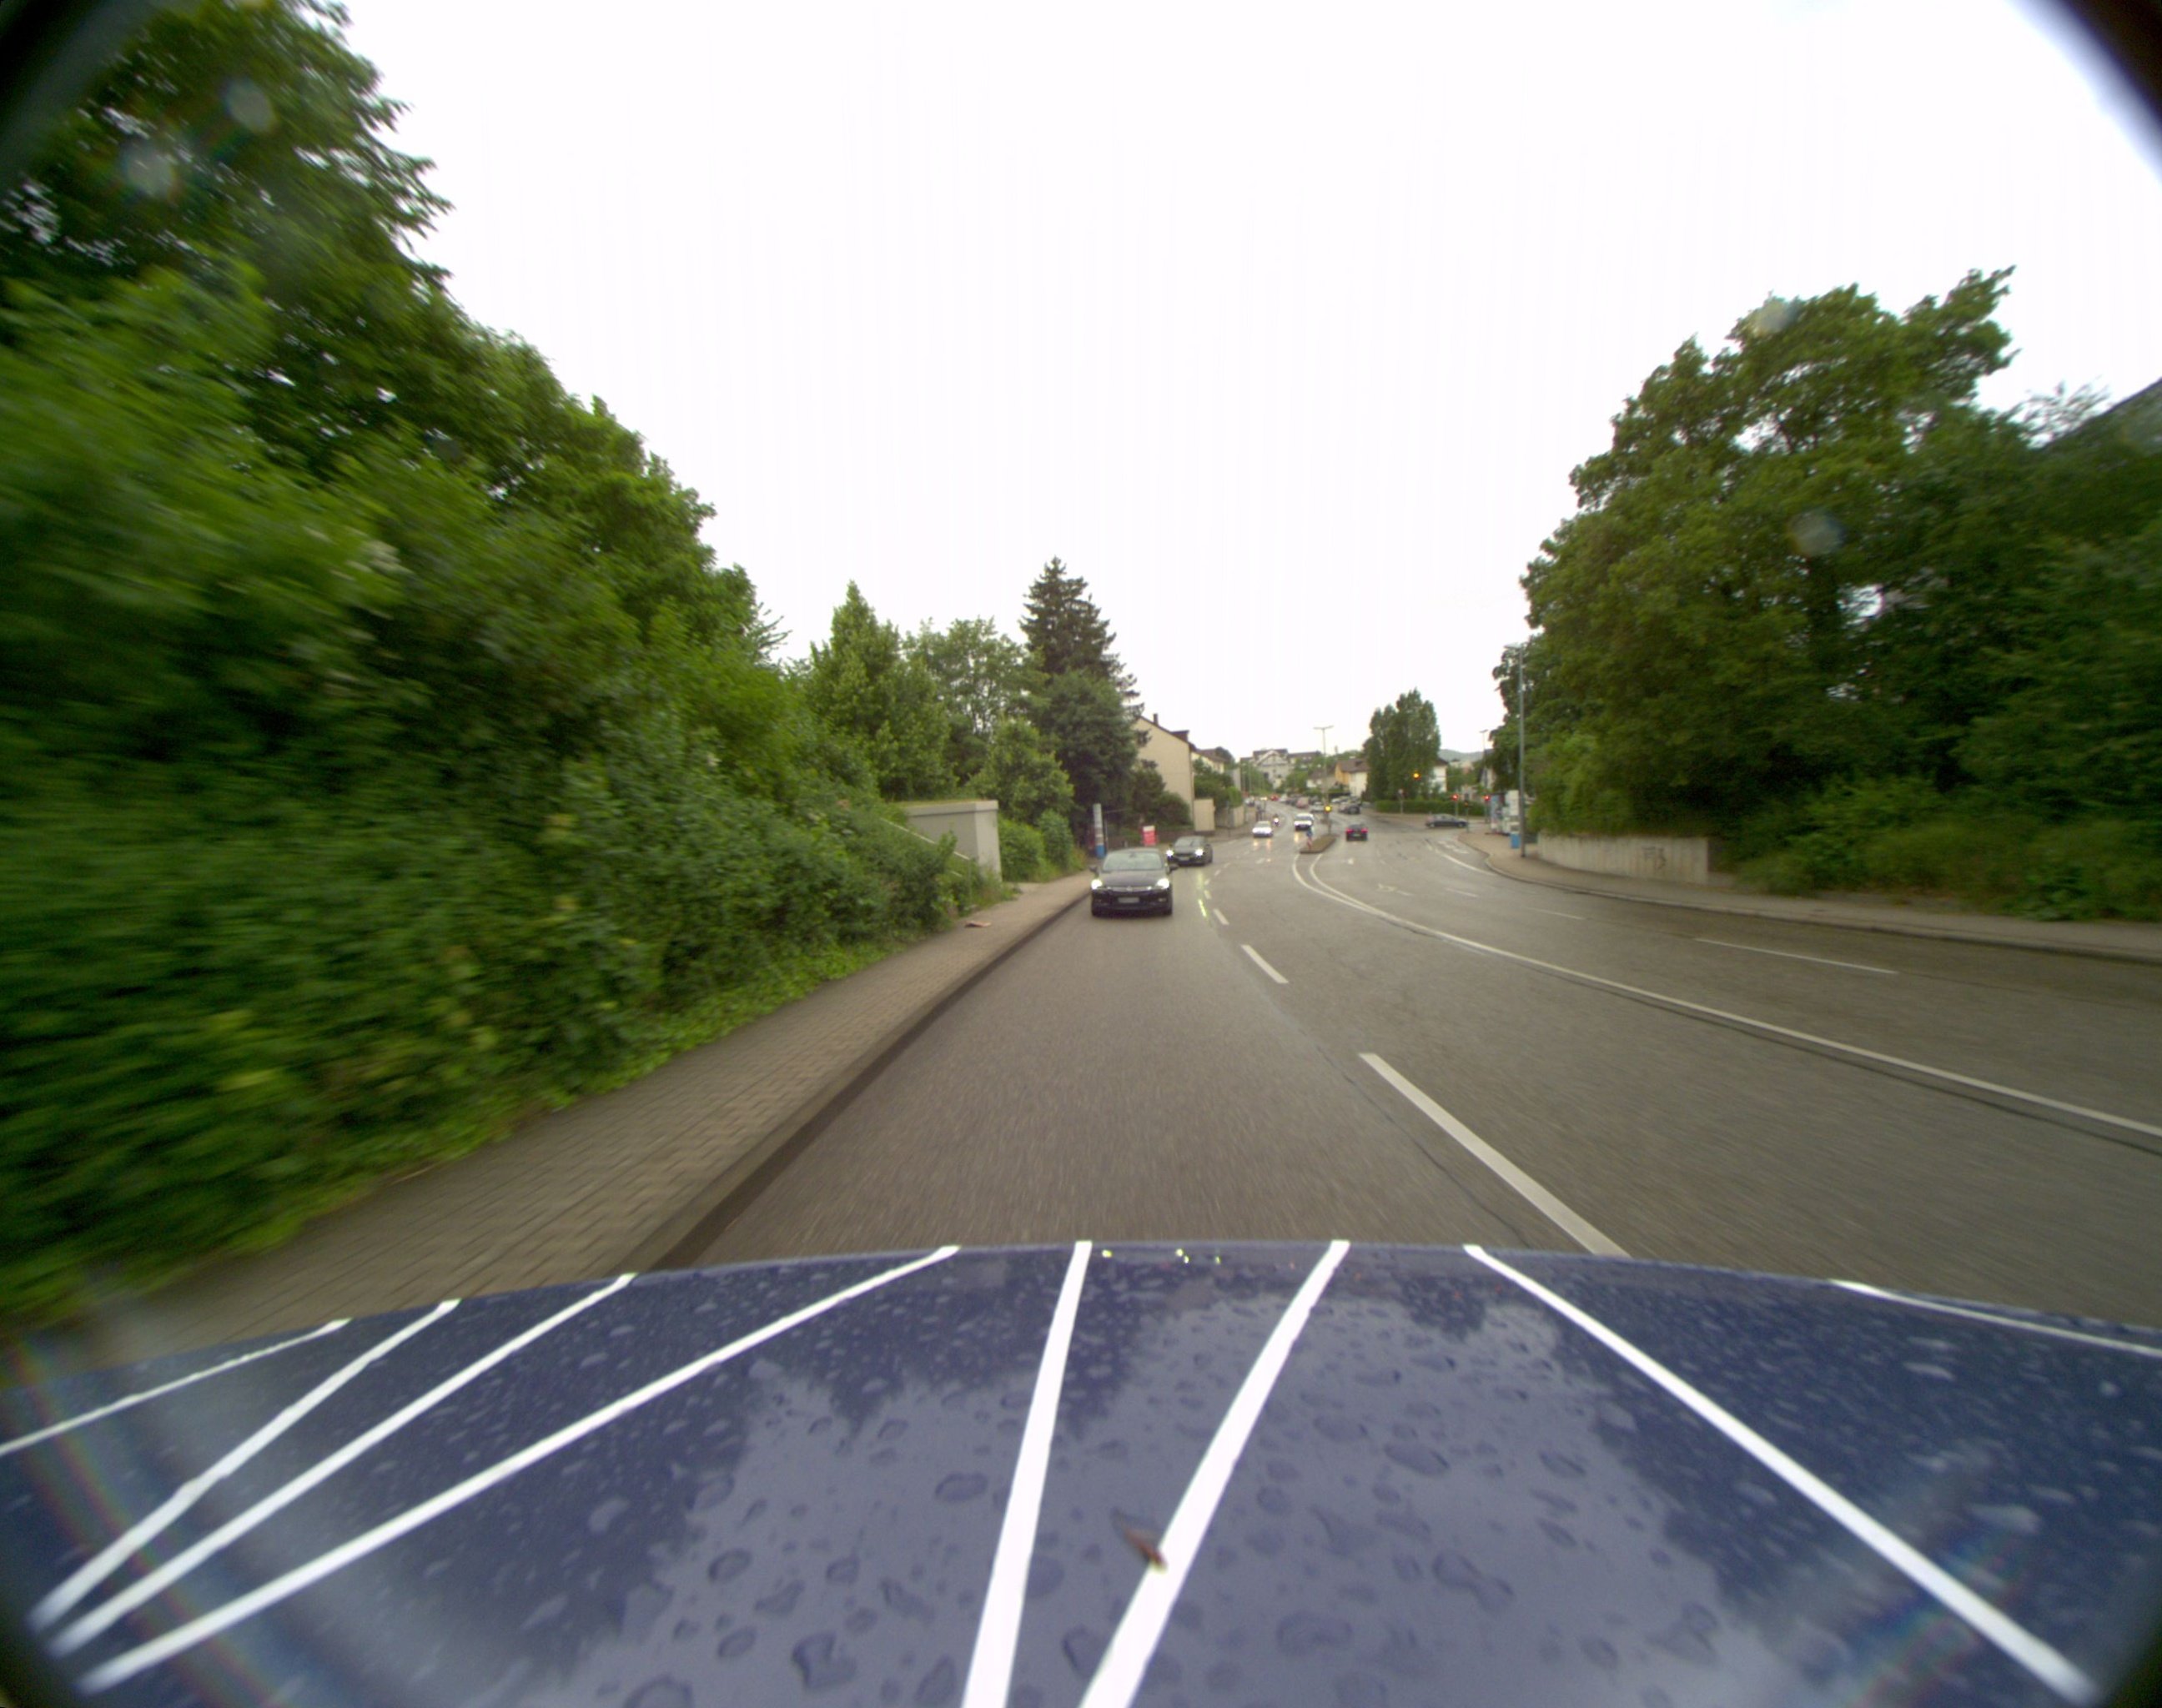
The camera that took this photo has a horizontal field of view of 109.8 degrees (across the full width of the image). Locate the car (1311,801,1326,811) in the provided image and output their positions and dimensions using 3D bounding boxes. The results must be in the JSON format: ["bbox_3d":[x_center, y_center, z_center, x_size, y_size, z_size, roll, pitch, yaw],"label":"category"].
[{"bbox_3d":[41.163,-8.323,131.637,1.827,1.648,4.465,-1,5,10],"label":"car"}]

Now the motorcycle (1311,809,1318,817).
[{"bbox_3d":[30.354,-5.318,98.764,0.762,0.948,2.442,-1,6,16],"label":"motorcycle"}]

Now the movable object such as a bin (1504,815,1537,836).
[{"bbox_3d":[33.767,-2.178,58.410,2.059,1.507,1.345,-1,4,22],"label":"movable object such as a bin"}]

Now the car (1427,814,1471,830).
[{"bbox_3d":[38.538,-3.324,79.611,4.049,1.480,1.842,-1,6,24],"label":"car"}]

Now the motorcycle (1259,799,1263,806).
[{"bbox_3d":[34.258,-9.781,144.664,0.693,1.318,2.478,-1,6,10],"label":"motorcycle"}]

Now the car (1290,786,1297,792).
[{"bbox_3d":[68.618,-20.917,245.245,1.997,1.566,3.999,-2,6,11],"label":"car"}]

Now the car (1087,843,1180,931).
[{"bbox_3d":[1.189,0.649,17.479,1.840,1.391,3.997,-2,6,4],"label":"car"}]

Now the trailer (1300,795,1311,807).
[{"bbox_3d":[44.369,-10.458,150.173,1.898,2.168,4.037,-1,5,18],"label":"trailer"}]

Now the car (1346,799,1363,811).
[{"bbox_3d":[43.107,-7.719,119.695,1.807,1.661,4.597,-2,6,11],"label":"car"}]

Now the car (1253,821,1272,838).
[{"bbox_3d":[18.322,-2.534,76.545,1.838,1.474,4.001,-1,4,14],"label":"car"}]

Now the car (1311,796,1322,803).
[{"bbox_3d":[51.659,-11.897,166.722,1.807,1.409,3.999,-1,6,11],"label":"car"}]

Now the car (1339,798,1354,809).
[{"bbox_3d":[44.146,-8.335,126.299,1.807,1.561,4.142,-2,6,11],"label":"car"}]

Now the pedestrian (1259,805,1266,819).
[{"bbox_3d":[24.895,-5.753,104.146,0.794,1.772,1.012,0,7,17],"label":"pedestrian"}]

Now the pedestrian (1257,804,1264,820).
[{"bbox_3d":[24.267,-5.703,102.738,0.798,2.004,0.734,-2,6,17],"label":"pedestrian"}]

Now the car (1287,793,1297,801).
[{"bbox_3d":[49.363,-13.413,177.712,1.997,1.566,3.999,-1,6,11],"label":"car"}]

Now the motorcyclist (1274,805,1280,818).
[{"bbox_3d":[25.267,-5.453,97.917,0.761,1.595,0.808,-1,7,15],"label":"motorcyclist"}]

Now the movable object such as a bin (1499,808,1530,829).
[{"bbox_3d":[35.017,-2.869,61.418,2.059,1.560,1.583,-1,4,22],"label":"movable object such as a bin"}]

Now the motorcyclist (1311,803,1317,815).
[{"bbox_3d":[30.311,-5.850,98.725,0.760,1.595,0.808,-1,7,18],"label":"motorcyclist"}]

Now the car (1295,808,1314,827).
[{"bbox_3d":[25.458,-4.178,86.642,1.954,1.862,4.746,-1,6,14],"label":"car"}]

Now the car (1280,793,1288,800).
[{"bbox_3d":[51.496,-14.671,192.780,1.838,1.549,4.770,-1,6,13],"label":"car"}]

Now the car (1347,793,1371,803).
[{"bbox_3d":[53.440,-10.786,146.099,3.994,1.413,1.884,-5,5,11],"label":"car"}]

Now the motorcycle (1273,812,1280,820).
[{"bbox_3d":[25.240,-4.913,97.912,0.762,0.948,2.442,-1,6,16],"label":"motorcycle"}]

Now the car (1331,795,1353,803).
[{"bbox_3d":[55.705,-11.727,162.121,4.108,1.476,1.839,1,5,4],"label":"car"}]

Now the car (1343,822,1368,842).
[{"bbox_3d":[23.588,-1.907,65.340,1.894,1.479,4.237,-1,3,18],"label":"car"}]

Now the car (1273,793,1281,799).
[{"bbox_3d":[54.768,-16.283,212.166,1.715,1.495,3.999,-2,6,10],"label":"car"}]

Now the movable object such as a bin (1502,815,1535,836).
[{"bbox_3d":[34.367,-2.228,59.764,2.059,1.560,1.583,-1,4,22],"label":"movable object such as a bin"}]

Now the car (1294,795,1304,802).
[{"bbox_3d":[47.360,-12.081,165.151,1.843,1.544,4.385,-1,5,15],"label":"car"}]

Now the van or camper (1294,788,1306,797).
[{"bbox_3d":[55.605,-15.582,193.030,2.188,2.004,5.132,-2,6,10],"label":"van or camper"}]

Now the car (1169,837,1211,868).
[{"bbox_3d":[5.784,-0.130,39.903,1.839,1.449,4.003,-2,2,13],"label":"car"}]
